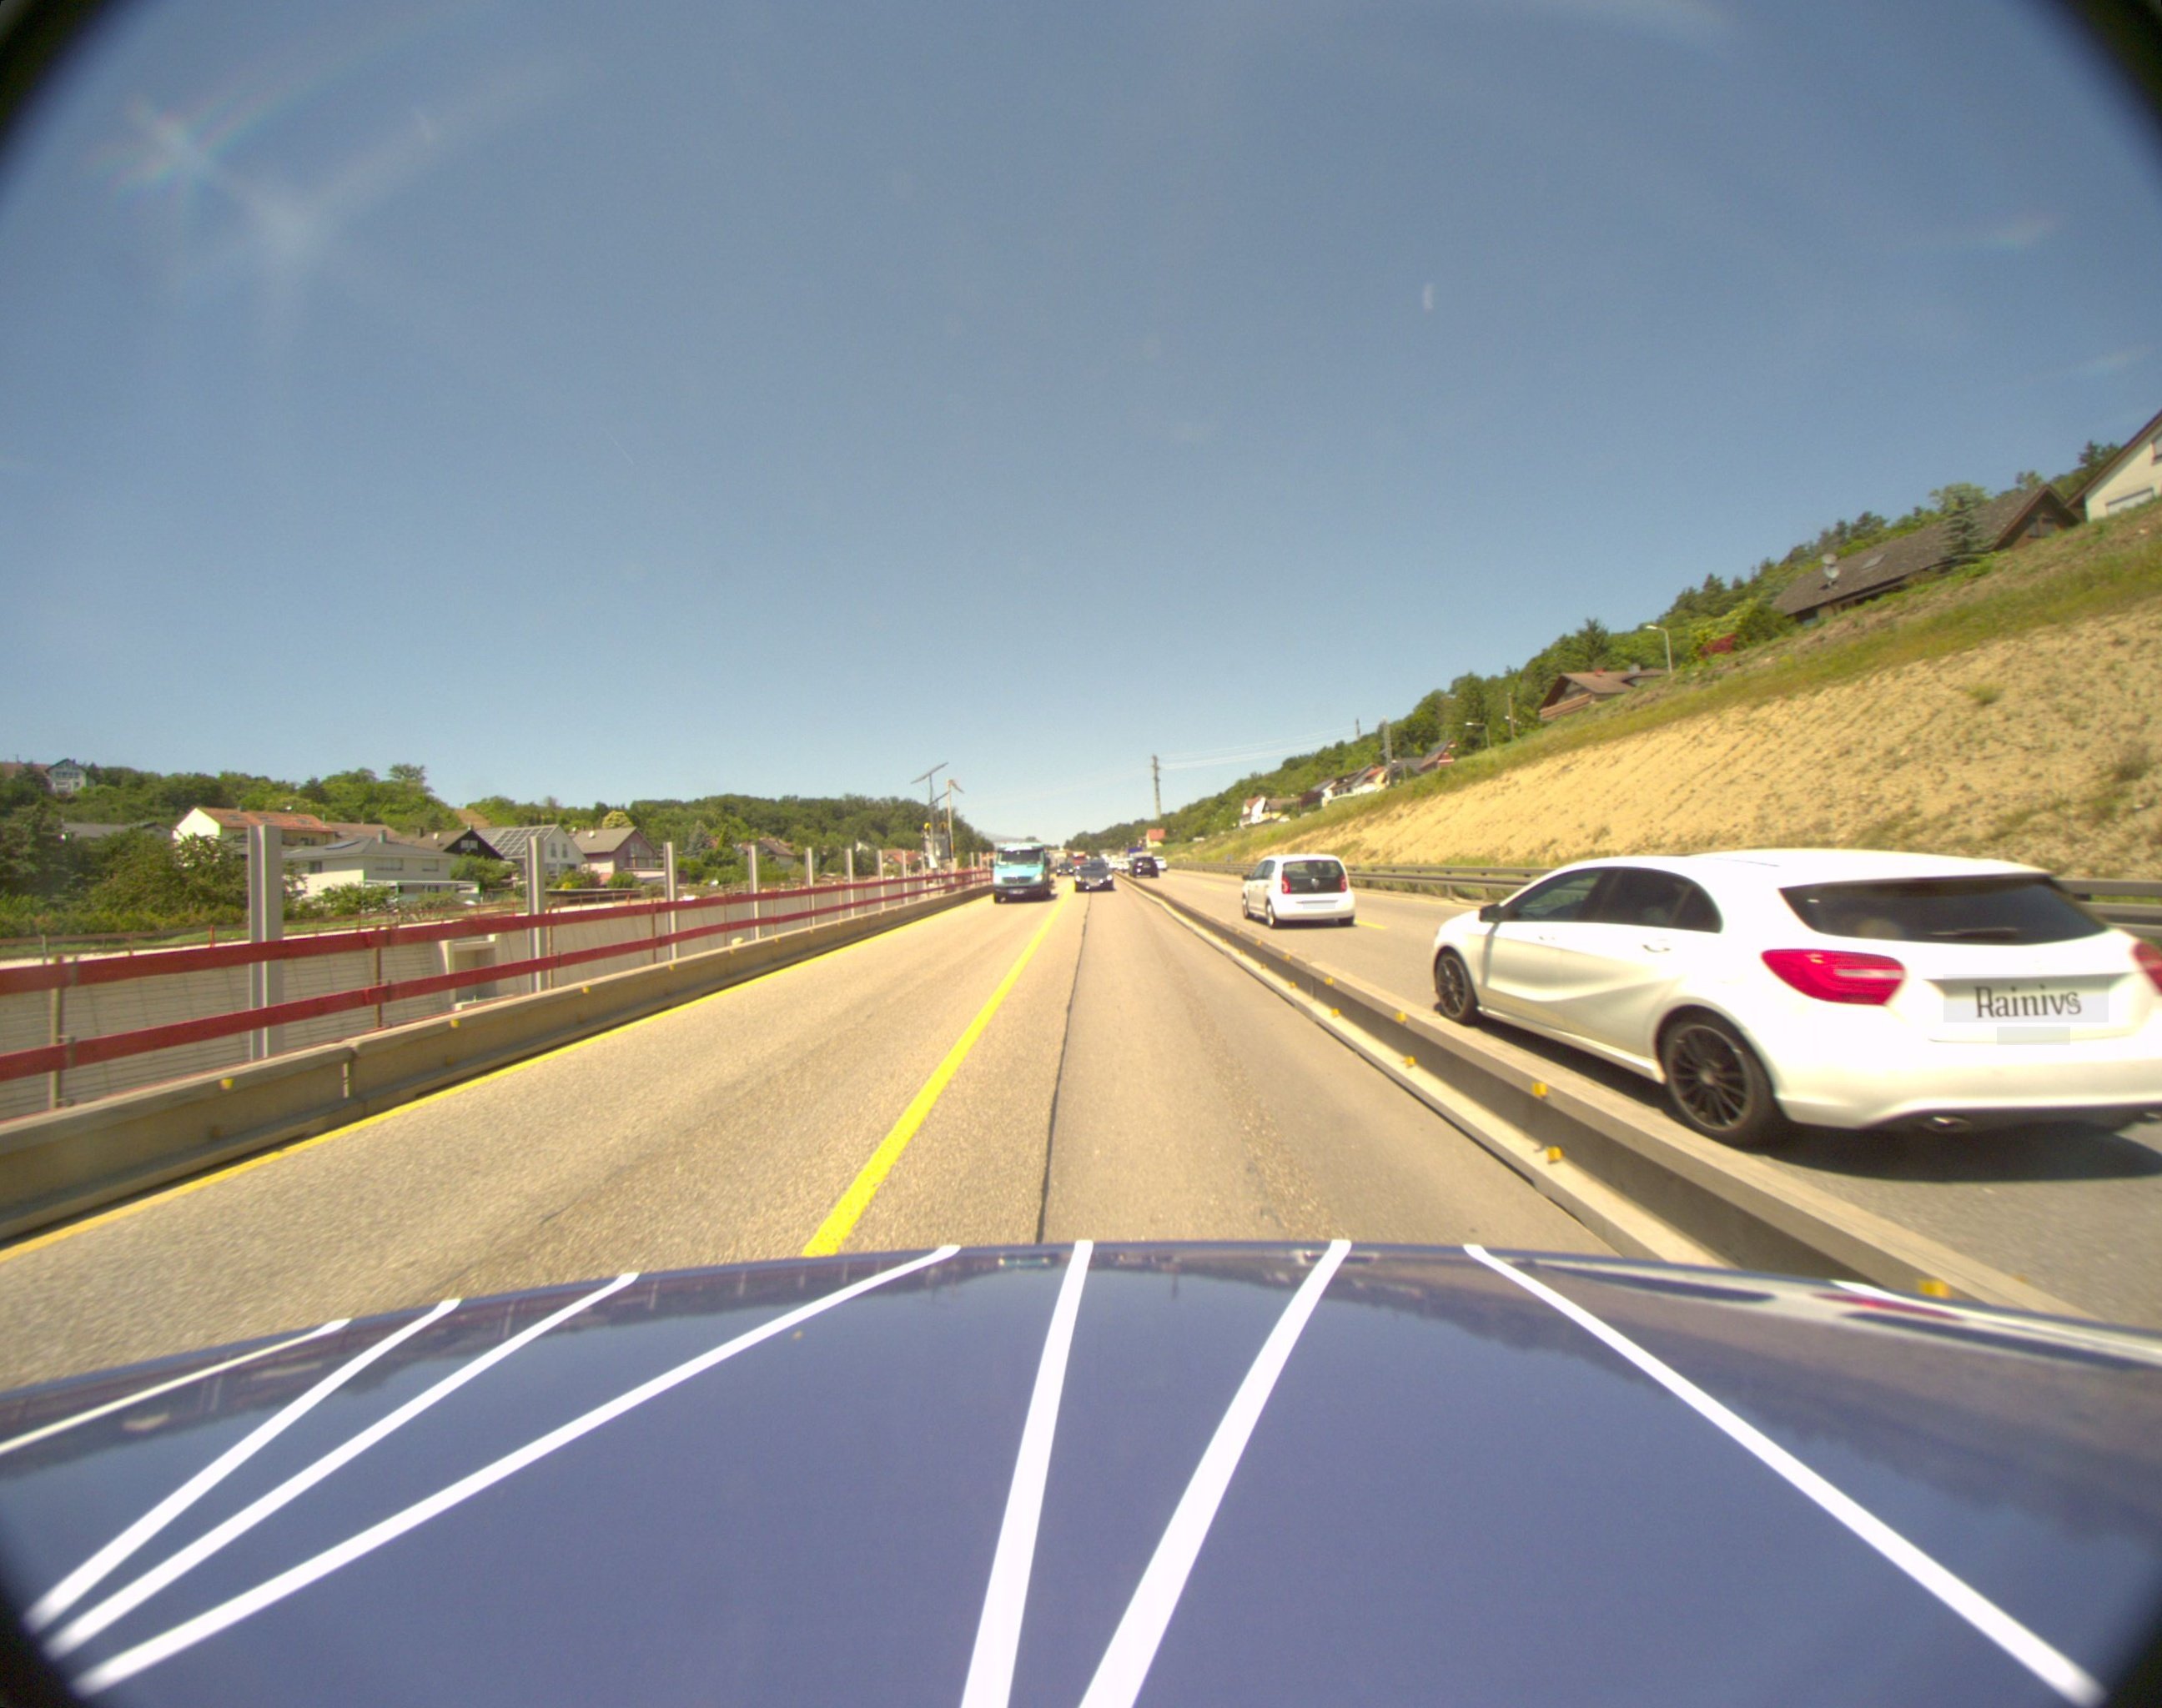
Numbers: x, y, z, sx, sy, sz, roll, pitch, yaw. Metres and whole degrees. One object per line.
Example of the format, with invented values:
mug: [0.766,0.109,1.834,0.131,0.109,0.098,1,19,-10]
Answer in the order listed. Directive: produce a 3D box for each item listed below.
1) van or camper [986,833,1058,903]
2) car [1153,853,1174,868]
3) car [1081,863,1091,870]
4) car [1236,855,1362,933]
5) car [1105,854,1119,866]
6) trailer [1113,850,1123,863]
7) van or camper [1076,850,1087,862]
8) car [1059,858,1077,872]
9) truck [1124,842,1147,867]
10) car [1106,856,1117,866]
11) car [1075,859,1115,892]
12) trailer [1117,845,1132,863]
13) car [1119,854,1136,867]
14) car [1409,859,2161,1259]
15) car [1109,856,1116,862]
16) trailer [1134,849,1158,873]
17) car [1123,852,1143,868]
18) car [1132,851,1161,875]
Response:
van or camper: [-2.268,0.543,31.532,2.097,2.458,7.672,-3,-1,1]
car: [9.258,0.691,85.563,1.904,1.575,4.514,-3,0,0]
car: [0.998,2.490,151.686,1.679,1.346,3.487,-4,-1,1]
car: [4.473,0.757,16.050,1.689,1.421,3.292,-2,0,0]
car: [4.846,0.891,118.159,1.895,1.698,4.561,-3,0,0]
trailer: [12.736,0.911,262.396,2.864,4.099,13.439,-3,-1,1]
van or camper: [0.168,0.406,172.049,2.321,2.513,4.528,-4,-1,1]
car: [-1.327,1.074,76.691,1.611,1.324,3.497,-2,-1,1]
truck: [9.979,0.082,140.002,3.251,4.135,13.979,-2,0,1]
car: [5.405,1.255,136.661,1.817,1.628,4.362,-2,0,0]
car: [0.655,0.970,35.177,1.746,1.420,4.001,-1,-1,1]
trailer: [10.734,0.000,188.234,2.817,4.261,14.036,-3,0,1]
car: [5.832,0.798,96.234,1.810,1.468,4.280,-3,0,0]
car: [3.874,0.784,4.919,1.689,1.421,4.122,-2,0,0]
car: [8.836,1.522,213.707,1.853,1.577,4.174,-3,0,1]
trailer: [5.880,0.607,68.665,1.651,2.014,4.269,-2,0,-1]
car: [5.631,0.673,82.805,1.820,1.583,4.290,-3,0,0]
car: [4.982,0.680,58.179,1.895,1.698,4.562,-2,0,2]
